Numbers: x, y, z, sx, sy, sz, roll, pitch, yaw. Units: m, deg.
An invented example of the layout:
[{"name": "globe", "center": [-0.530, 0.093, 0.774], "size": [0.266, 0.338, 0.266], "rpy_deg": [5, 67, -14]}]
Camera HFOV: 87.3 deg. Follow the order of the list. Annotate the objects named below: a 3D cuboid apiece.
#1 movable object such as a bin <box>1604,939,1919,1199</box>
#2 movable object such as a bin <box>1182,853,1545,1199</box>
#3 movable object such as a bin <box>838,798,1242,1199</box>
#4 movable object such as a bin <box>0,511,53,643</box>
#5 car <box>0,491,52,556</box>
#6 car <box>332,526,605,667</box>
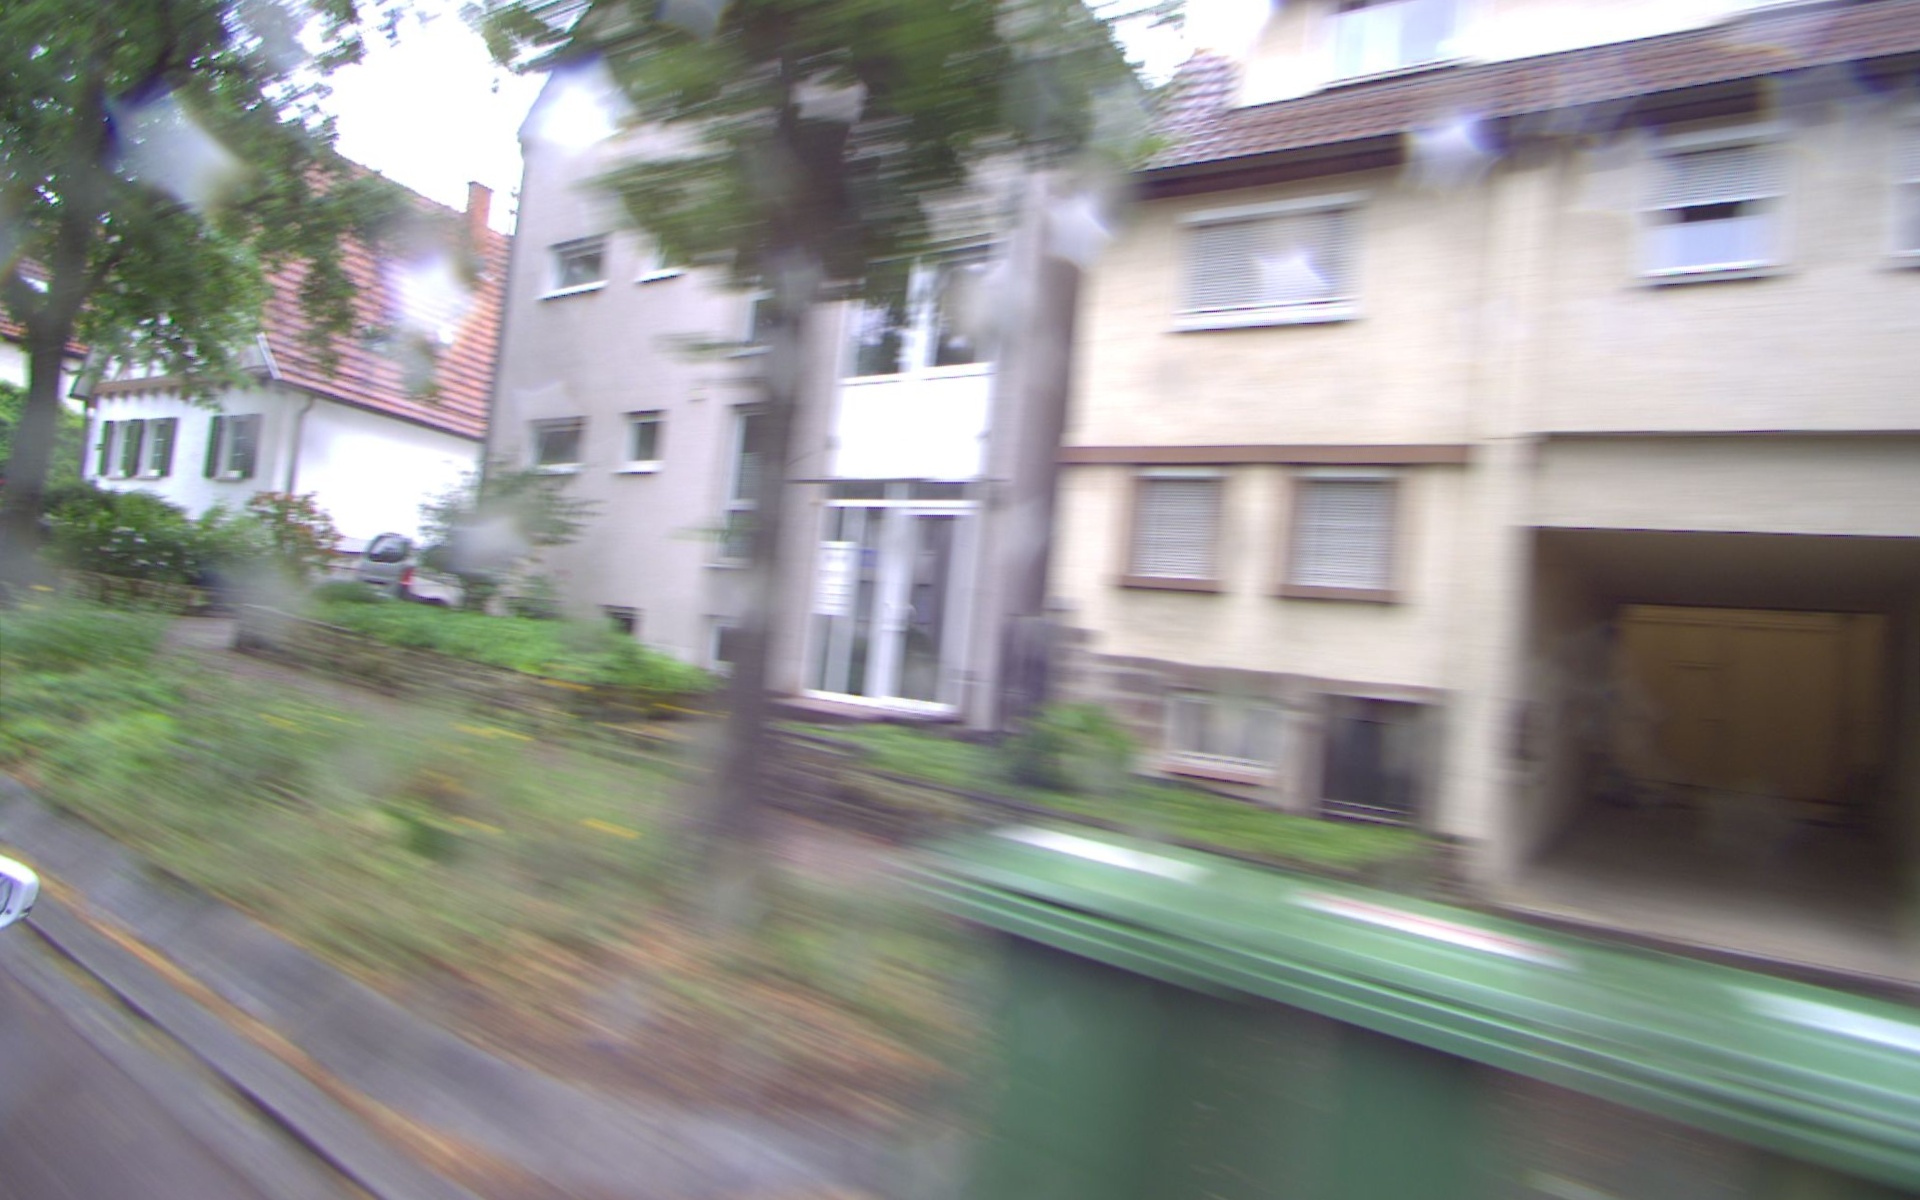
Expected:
[{"name": "movable object such as a bin", "center": [1.267, 1.164, 1.473], "size": [0.504, 1.094, 0.611], "rpy_deg": [7, -2, 28]}, {"name": "movable object such as a bin", "center": [0.704, 1.088, 1.820], "size": [0.464, 1.094, 0.633], "rpy_deg": [7, -2, 28]}, {"name": "movable object such as a bin", "center": [0.174, 1.022, 2.068], "size": [0.531, 1.094, 0.645], "rpy_deg": [7, -2, 28]}, {"name": "movable object such as a bin", "center": [-10.487, -0.323, 10.453], "size": [1.116, 1.330, 1.226], "rpy_deg": [7, -2, 34]}, {"name": "car", "center": [-24.274, -2.057, 24.052], "size": [1.602, 1.447, 3.373], "rpy_deg": [7, -1, 29]}, {"name": "car", "center": [-9.935, 0.022, 20.744], "size": [1.966, 1.917, 4.482], "rpy_deg": [7, -7, 31]}]
